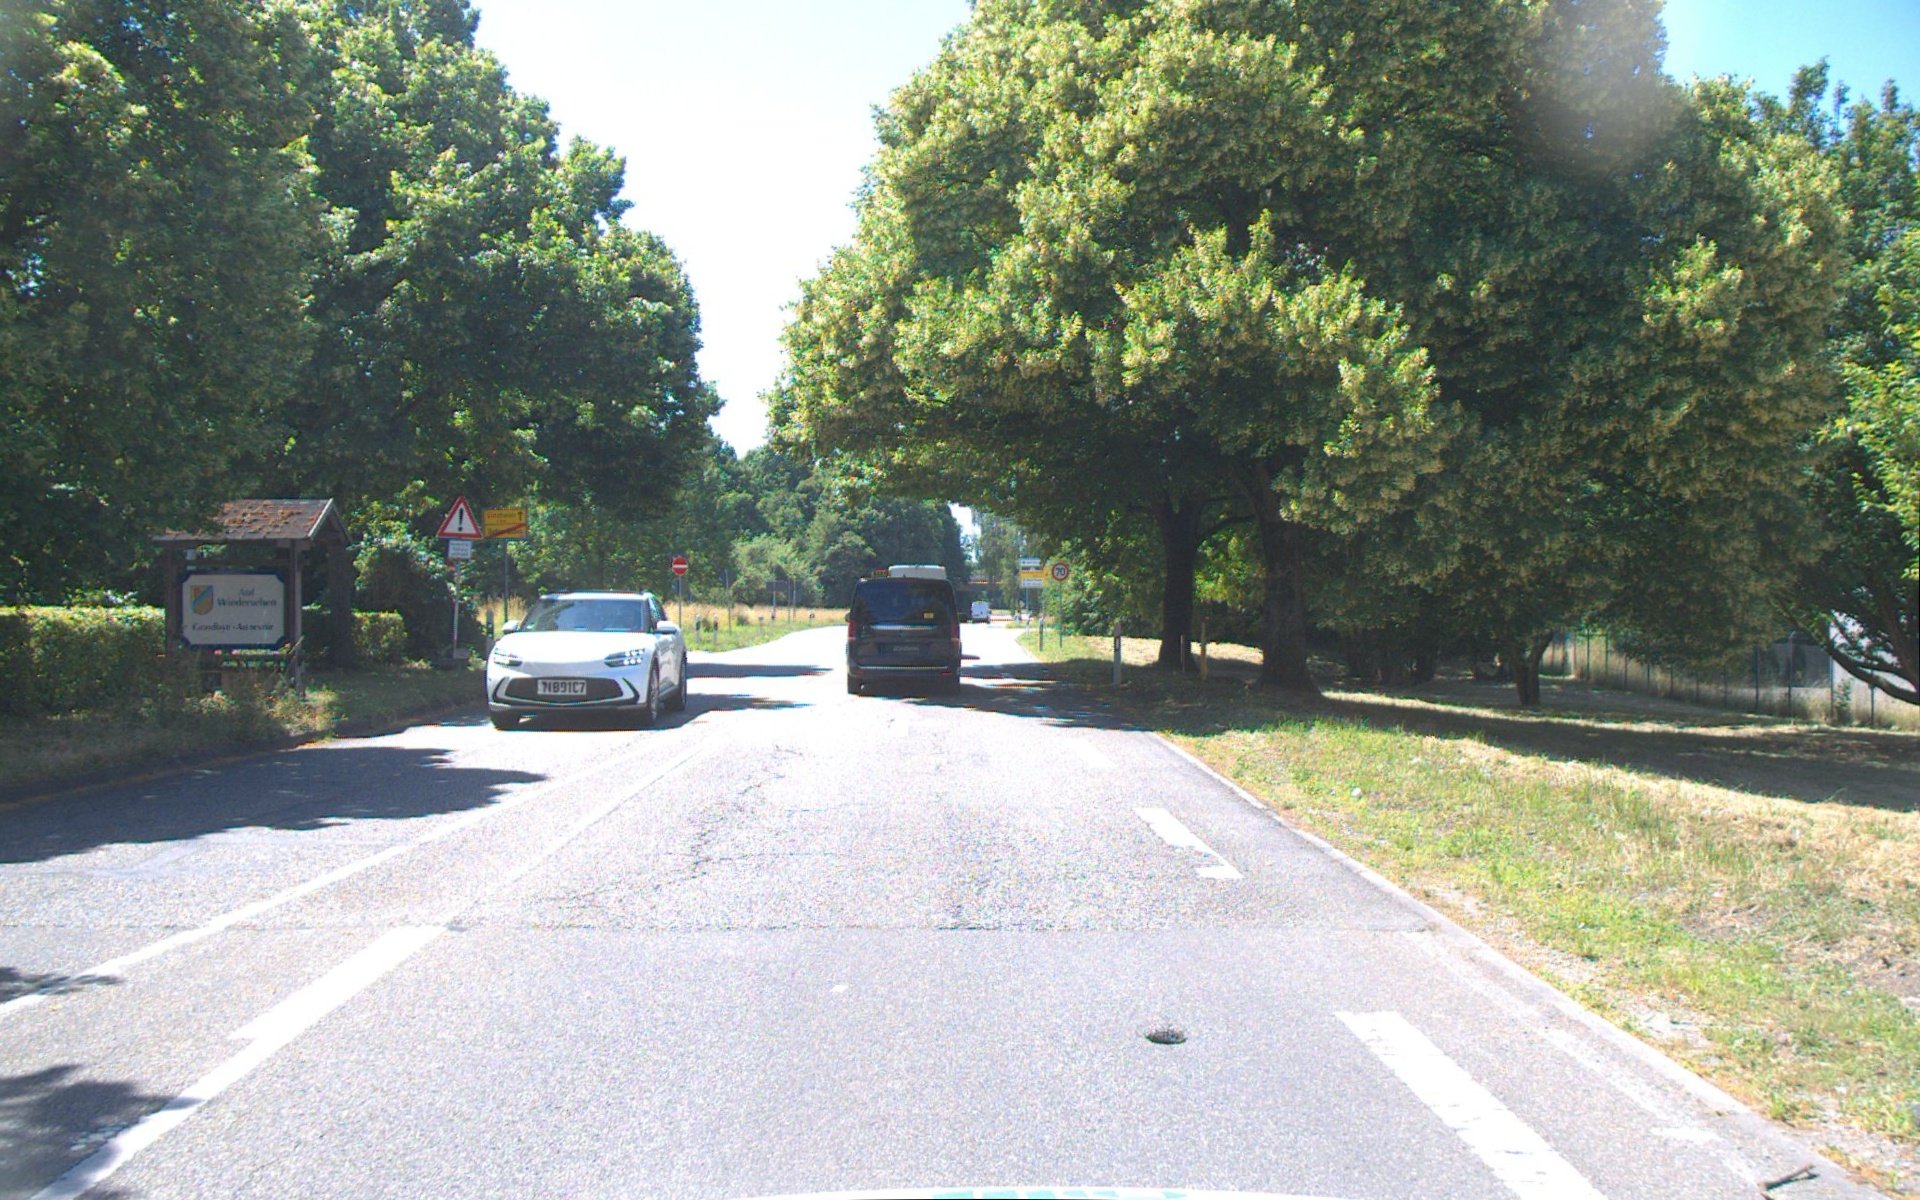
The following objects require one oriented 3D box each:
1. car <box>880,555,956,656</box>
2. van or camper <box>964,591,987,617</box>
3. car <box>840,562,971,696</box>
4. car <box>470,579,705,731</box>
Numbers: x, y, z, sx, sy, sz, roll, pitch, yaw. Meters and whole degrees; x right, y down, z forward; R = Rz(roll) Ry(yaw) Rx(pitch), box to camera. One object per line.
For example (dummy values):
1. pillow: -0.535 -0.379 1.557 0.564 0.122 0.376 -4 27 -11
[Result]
1. car: -1.218 0.164 48.529 2.036 2.750 4.665 2 -1 -1
2. van or camper: 1.874 0.508 201.072 2.578 2.980 5.205 1 -1 -1
3. car: -0.888 0.469 27.918 1.953 1.987 5.003 2 -1 -1
4. car: -4.470 0.628 20.570 2.052 1.616 4.472 2 -1 -3
